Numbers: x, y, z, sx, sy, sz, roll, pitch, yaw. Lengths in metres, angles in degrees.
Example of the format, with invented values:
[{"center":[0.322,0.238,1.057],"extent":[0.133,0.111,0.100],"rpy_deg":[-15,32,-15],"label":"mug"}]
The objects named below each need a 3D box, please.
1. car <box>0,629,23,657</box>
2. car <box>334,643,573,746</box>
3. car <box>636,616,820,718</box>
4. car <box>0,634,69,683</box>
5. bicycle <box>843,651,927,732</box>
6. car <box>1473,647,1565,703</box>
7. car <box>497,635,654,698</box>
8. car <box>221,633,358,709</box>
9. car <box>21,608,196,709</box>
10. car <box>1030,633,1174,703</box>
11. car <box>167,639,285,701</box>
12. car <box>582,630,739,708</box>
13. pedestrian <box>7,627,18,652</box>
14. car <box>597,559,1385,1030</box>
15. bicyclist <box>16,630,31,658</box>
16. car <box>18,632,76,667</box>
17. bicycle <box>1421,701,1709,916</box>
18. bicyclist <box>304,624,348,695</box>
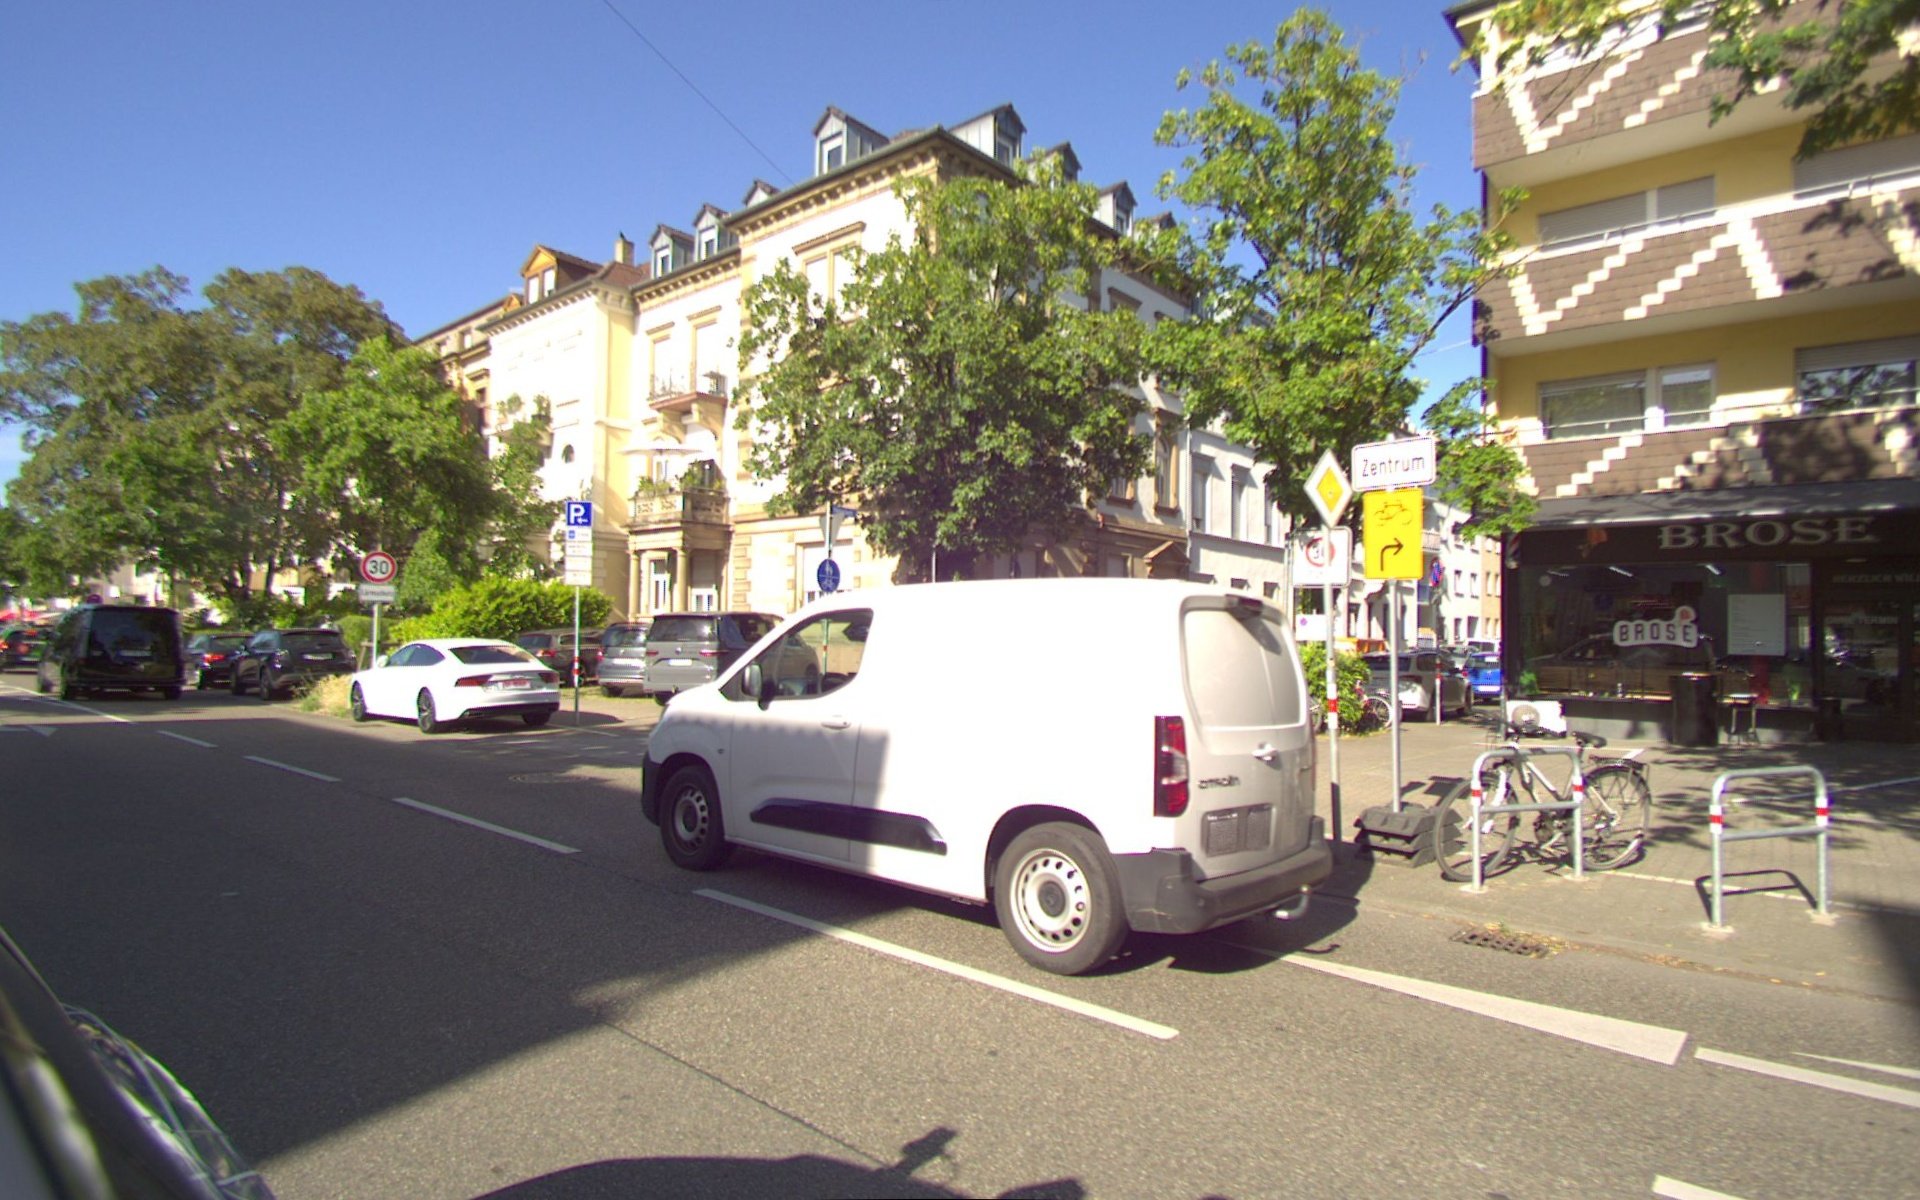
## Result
[{"center":[-53.635,2.392,56.639],"extent":[3.684,1.501,1.386],"rpy_deg":[-2,-3,42],"label":"car"},{"center":[-8.400,1.431,16.570],"extent":[4.799,1.400,1.814],"rpy_deg":[-2,-2,41],"label":"car"},{"center":[-4.710,1.327,21.234],"extent":[1.864,1.893,4.303],"rpy_deg":[-1,-2,18],"label":"car"},{"center":[-30.369,1.857,32.708],"extent":[4.170,1.465,1.674],"rpy_deg":[-2,-6,40],"label":"car"},{"center":[-1.327,1.631,18.813],"extent":[0.941,1.272,3.168],"rpy_deg":[2,-1,7],"label":"bicycle"},{"center":[15.428,2.038,27.864],"extent":[1.492,1.453,3.612],"rpy_deg":[-3,-5,40],"label":"car"},{"center":[-9.990,1.679,26.590],"extent":[1.622,1.500,3.889],"rpy_deg":[-1,-2,23],"label":"car"},{"center":[-15.234,1.533,22.919],"extent":[4.007,1.567,1.660],"rpy_deg":[-2,-3,42],"label":"car"},{"center":[-18.670,1.256,22.103],"extent":[5.174,1.967,1.995],"rpy_deg":[-2,-5,40],"label":"car"},{"center":[3.487,1.614,24.397],"extent":[1.646,1.499,3.743],"rpy_deg":[1,-2,41],"label":"car"},{"center":[-19.136,1.754,26.335],"extent":[4.087,1.427,1.620],"rpy_deg":[-2,-1,41],"label":"car"},{"center":[-6.829,1.535,23.508],"extent":[1.666,1.657,3.899],"rpy_deg":[-1,-2,17],"label":"car"},{"center":[-63.817,2.676,68.139],"extent":[0.719,1.663,0.464],"rpy_deg":[-2,-2,42],"label":"pedestrian"},{"center":[-0.095,0.830,5.969],"extent":[4.490,1.756,1.797],"rpy_deg":[-1,-5,41],"label":"car"},{"center":[-60.151,2.830,64.987],"extent":[0.691,1.768,0.602],"rpy_deg":[-2,-3,41],"label":"bicyclist"},{"center":[-40.970,2.191,45.408],"extent":[3.931,1.488,1.584],"rpy_deg":[-2,-2,43],"label":"car"},{"center":[3.843,1.257,6.403],"extent":[1.903,1.144,0.464],"rpy_deg":[0,-2,-21],"label":"bicycle"},{"center":[-16.835,1.572,26.866],"extent":[1.054,1.838,0.651],"rpy_deg":[-2,-4,41],"label":"bicyclist"}]
